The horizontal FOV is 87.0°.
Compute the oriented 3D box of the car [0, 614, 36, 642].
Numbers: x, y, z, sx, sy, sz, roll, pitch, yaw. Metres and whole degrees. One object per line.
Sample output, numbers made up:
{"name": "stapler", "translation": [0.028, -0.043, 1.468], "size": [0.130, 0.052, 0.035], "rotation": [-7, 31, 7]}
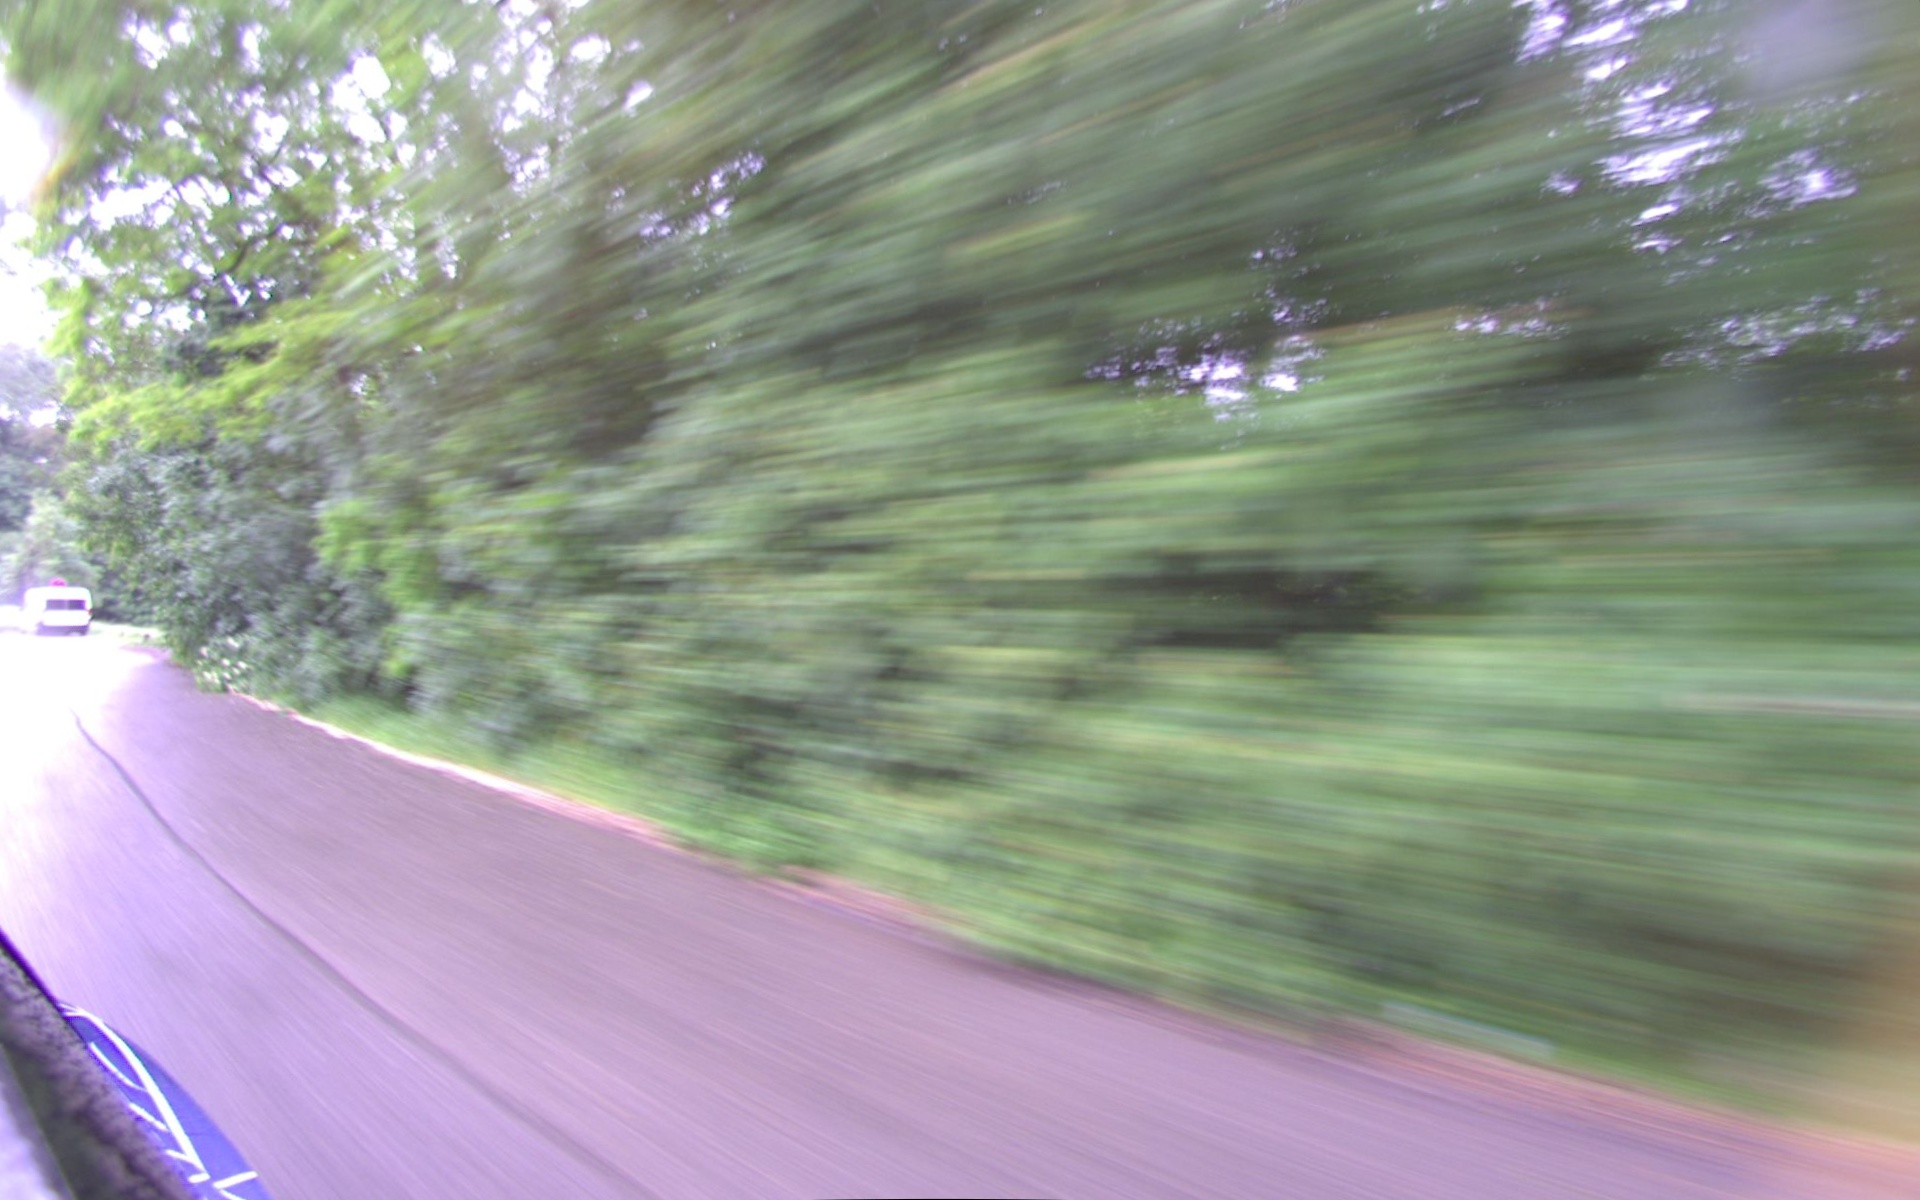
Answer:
{"name": "car", "translation": [-56.194, 1.643, 59.453], "size": [4.552, 1.592, 2.077], "rotation": [-1, -3, 39]}

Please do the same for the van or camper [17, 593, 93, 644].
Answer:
{"name": "van or camper", "translation": [-47.873, 0.999, 53.499], "size": [4.831, 2.535, 2.175], "rotation": [-1, -3, 39]}
